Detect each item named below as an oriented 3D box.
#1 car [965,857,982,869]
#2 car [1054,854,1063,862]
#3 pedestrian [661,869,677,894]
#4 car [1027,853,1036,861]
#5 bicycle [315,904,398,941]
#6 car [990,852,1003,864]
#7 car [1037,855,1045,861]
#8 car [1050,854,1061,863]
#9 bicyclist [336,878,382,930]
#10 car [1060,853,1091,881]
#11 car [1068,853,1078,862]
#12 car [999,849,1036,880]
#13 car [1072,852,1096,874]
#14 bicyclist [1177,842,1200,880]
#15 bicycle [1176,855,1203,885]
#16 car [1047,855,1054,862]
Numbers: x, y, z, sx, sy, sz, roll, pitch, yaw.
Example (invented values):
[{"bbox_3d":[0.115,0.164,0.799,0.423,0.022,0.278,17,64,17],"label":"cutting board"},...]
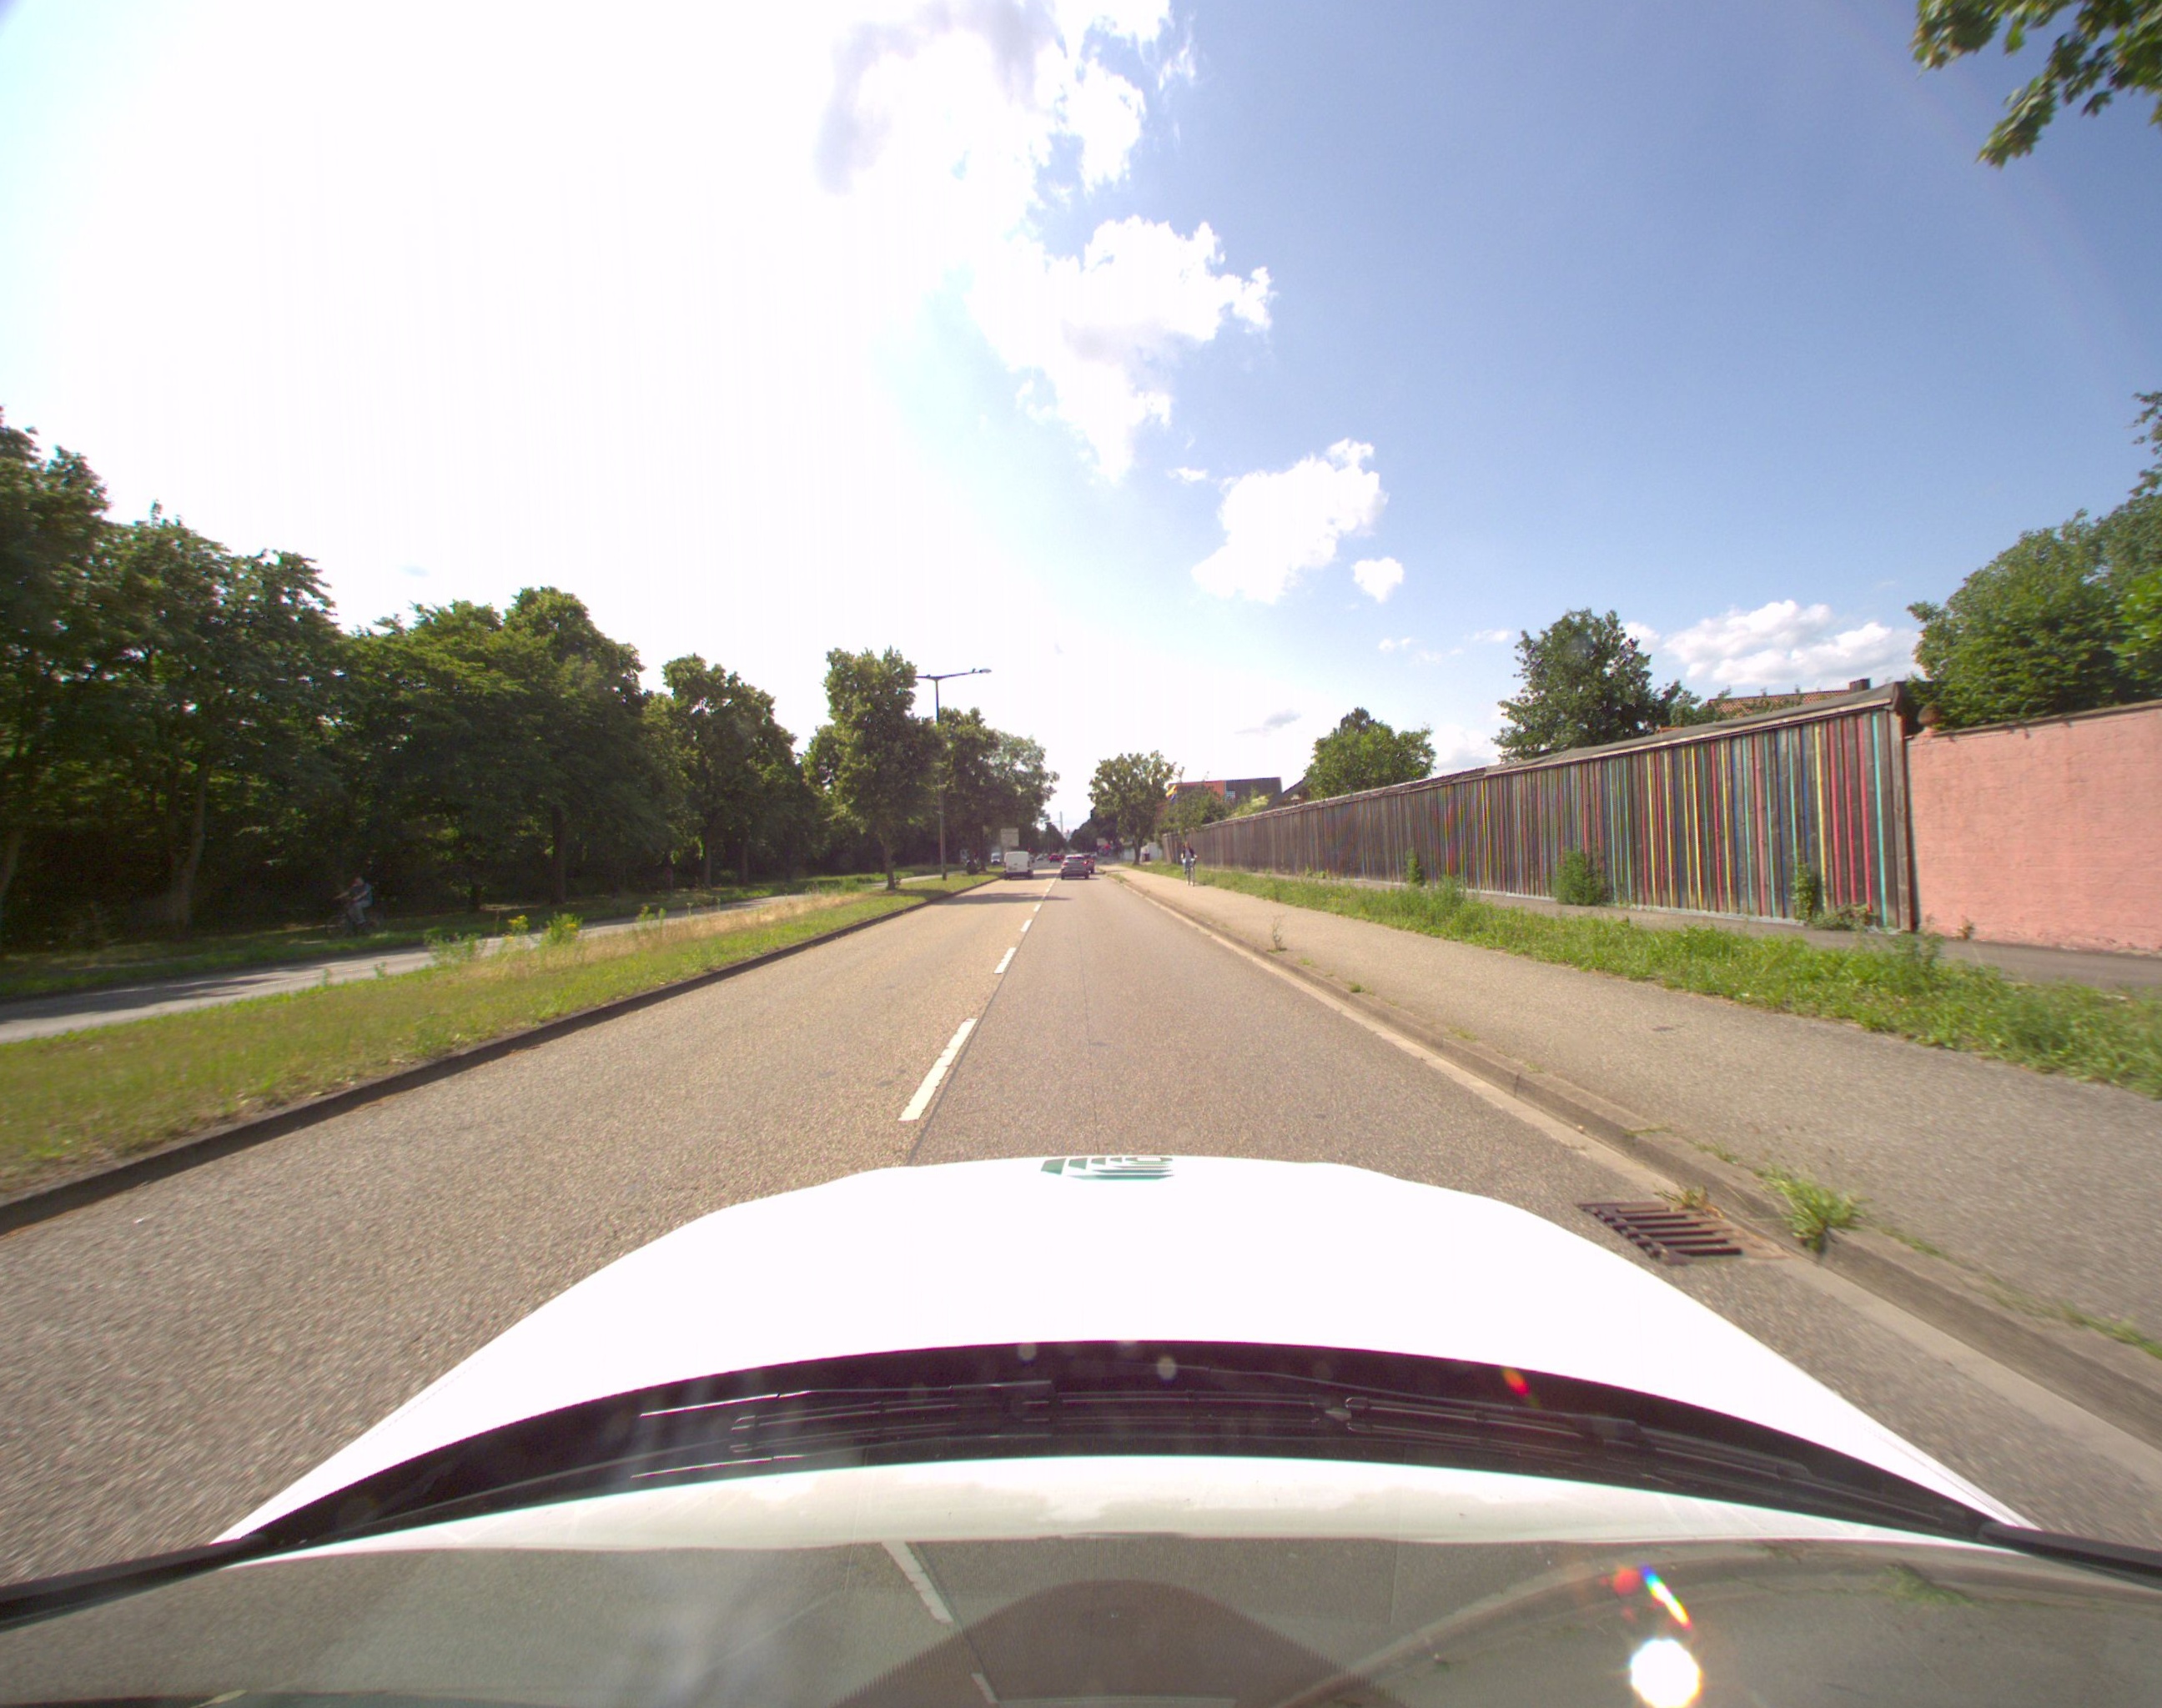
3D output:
[{"bbox_3d":[-16.481,1.406,125.341,1.987,1.705,4.192,-3,0,0],"label":"car"},{"bbox_3d":[-4.988,0.840,179.318,1.774,1.767,4.167,-3,0,0],"label":"car"},{"bbox_3d":[-27.611,1.817,54.583,0.642,1.630,0.656,-1,0,0],"label":"pedestrian"},{"bbox_3d":[-11.384,0.742,186.660,1.774,1.767,4.124,-3,0,0],"label":"car"},{"bbox_3d":[-21.059,1.976,23.721,0.615,0.878,1.916,-2,0,2],"label":"bicycle"},{"bbox_3d":[-17.935,0.927,172.537,2.039,2.431,5.248,-3,0,0],"label":"car"},{"bbox_3d":[-11.419,1.196,232.508,1.886,1.588,4.108,-3,0,0],"label":"car"},{"bbox_3d":[-5.307,0.926,169.395,1.935,1.767,4.145,-3,0,0],"label":"car"},{"bbox_3d":[-21.078,1.450,23.788,0.616,1.448,0.730,-2,0,2],"label":"bicyclist"},{"bbox_3d":[-0.338,0.788,51.852,1.869,1.589,4.183,-3,0,0],"label":"car"},{"bbox_3d":[-1.737,0.710,171.623,1.988,1.772,4.145,-1,0,-1],"label":"car"},{"bbox_3d":[-4.186,0.666,54.520,2.060,1.912,4.645,-2,0,-1],"label":"car"},{"bbox_3d":[0.226,0.691,66.587,1.774,1.643,4.195,-3,0,0],"label":"car"},{"bbox_3d":[4.140,0.270,31.359,0.652,1.412,0.986,-5,0,0],"label":"bicyclist"},{"bbox_3d":[4.169,0.599,31.345,0.644,1.067,2.278,-5,0,0],"label":"bicycle"},{"bbox_3d":[-8.330,1.129,222.571,1.774,1.767,4.149,-3,0,0],"label":"car"}]
